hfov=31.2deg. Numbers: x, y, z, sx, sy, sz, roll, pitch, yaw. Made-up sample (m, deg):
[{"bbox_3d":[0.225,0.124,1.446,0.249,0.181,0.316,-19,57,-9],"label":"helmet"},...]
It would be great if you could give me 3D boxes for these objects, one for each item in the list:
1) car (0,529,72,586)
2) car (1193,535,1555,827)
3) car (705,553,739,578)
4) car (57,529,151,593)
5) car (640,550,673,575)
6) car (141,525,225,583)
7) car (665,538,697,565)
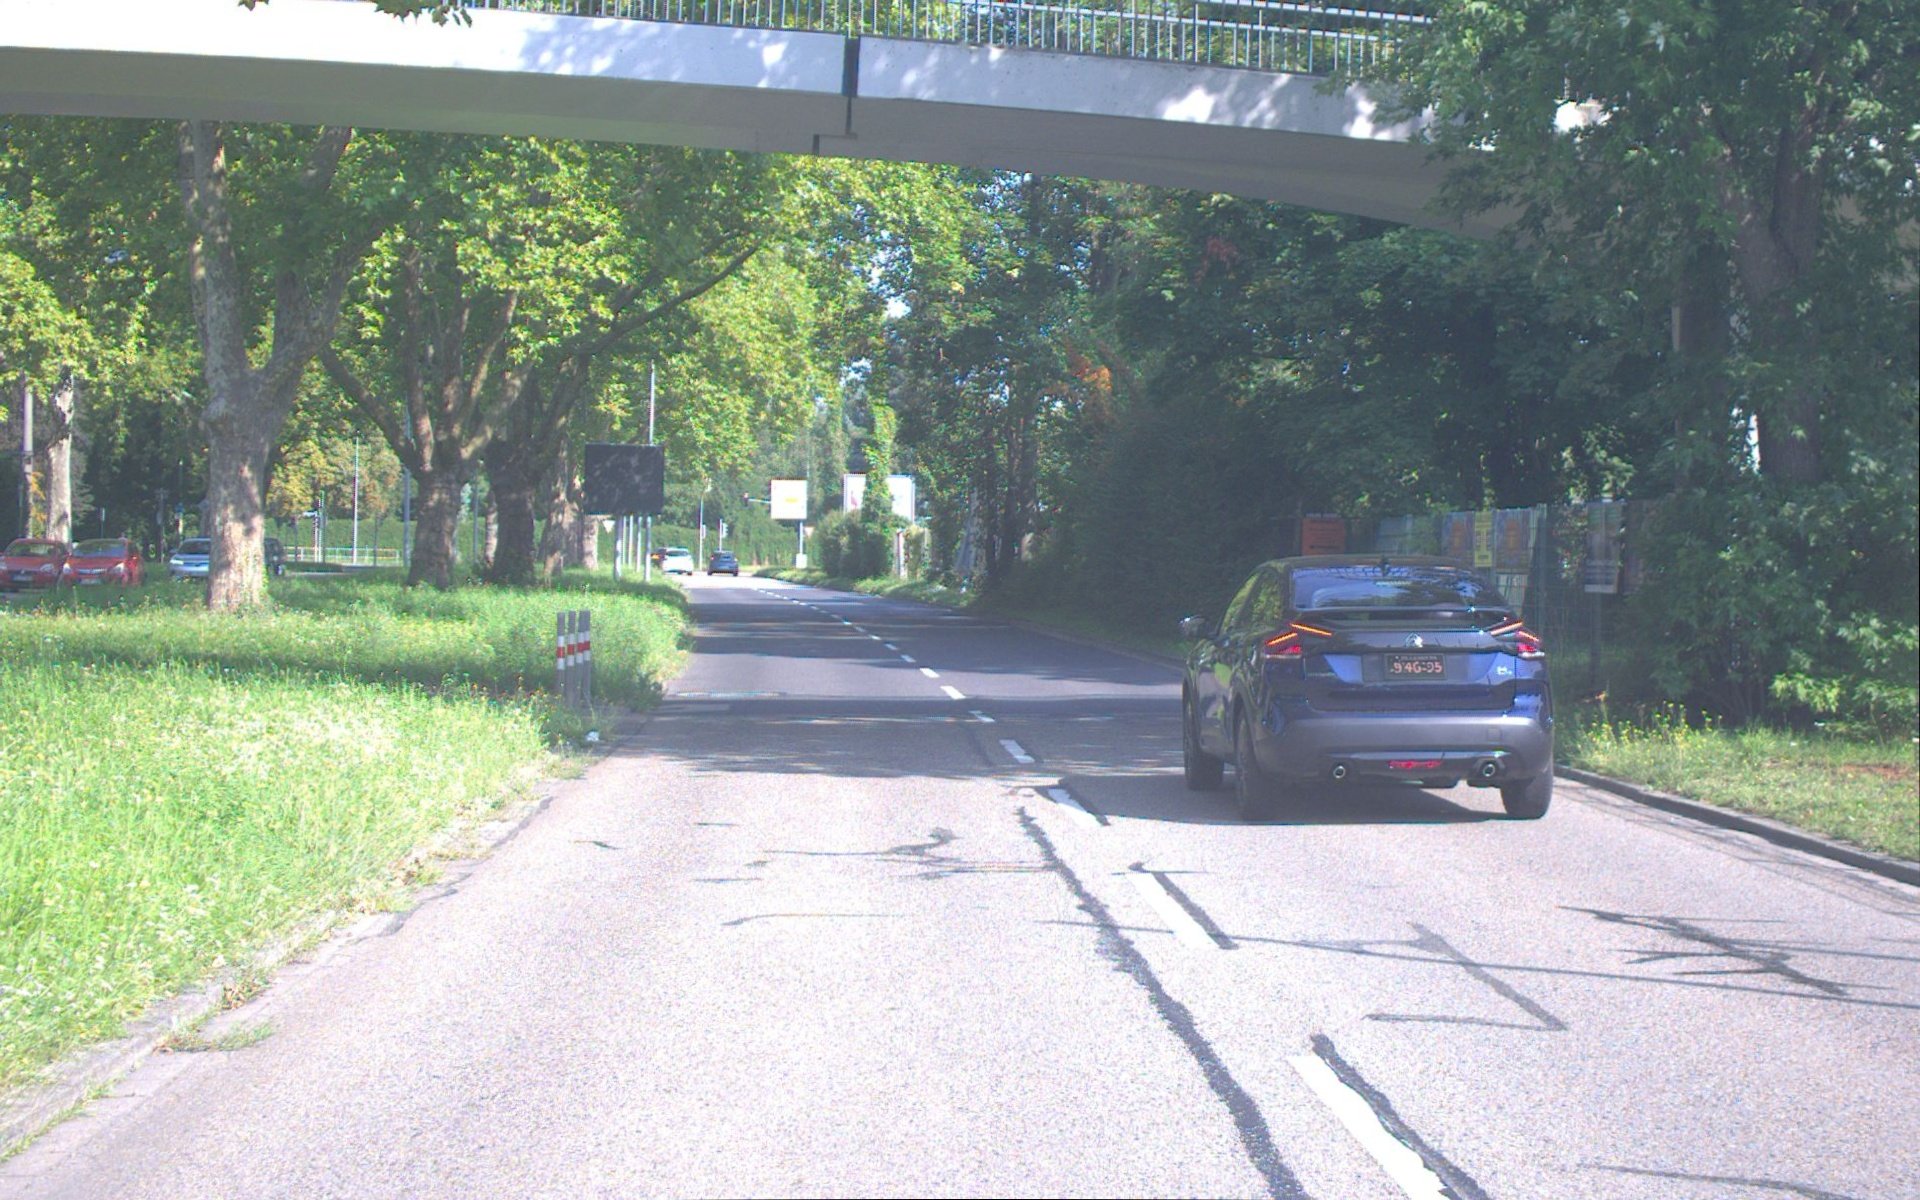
[{"bbox_3d":[-25.110,-1.145,92.596,1.538,1.446,4.065,2,0,-4],"label":"car"},{"bbox_3d":[2.407,0.426,20.921,1.645,1.583,4.255,1,0,0],"label":"car"},{"bbox_3d":[-14.095,-2.062,203.738,1.797,1.396,4.001,2,0,-6],"label":"car"},{"bbox_3d":[-21.623,-0.995,86.970,1.690,1.527,4.070,1,1,-5],"label":"car"},{"bbox_3d":[-18.318,-2.275,207.587,1.687,1.457,3.850,2,0,-2],"label":"car"},{"bbox_3d":[-23.916,-1.433,105.901,1.802,1.714,4.720,1,1,-4],"label":"car"},{"bbox_3d":[-15.600,-2.708,192.228,1.687,1.457,4.001,2,0,-5],"label":"car"}]
